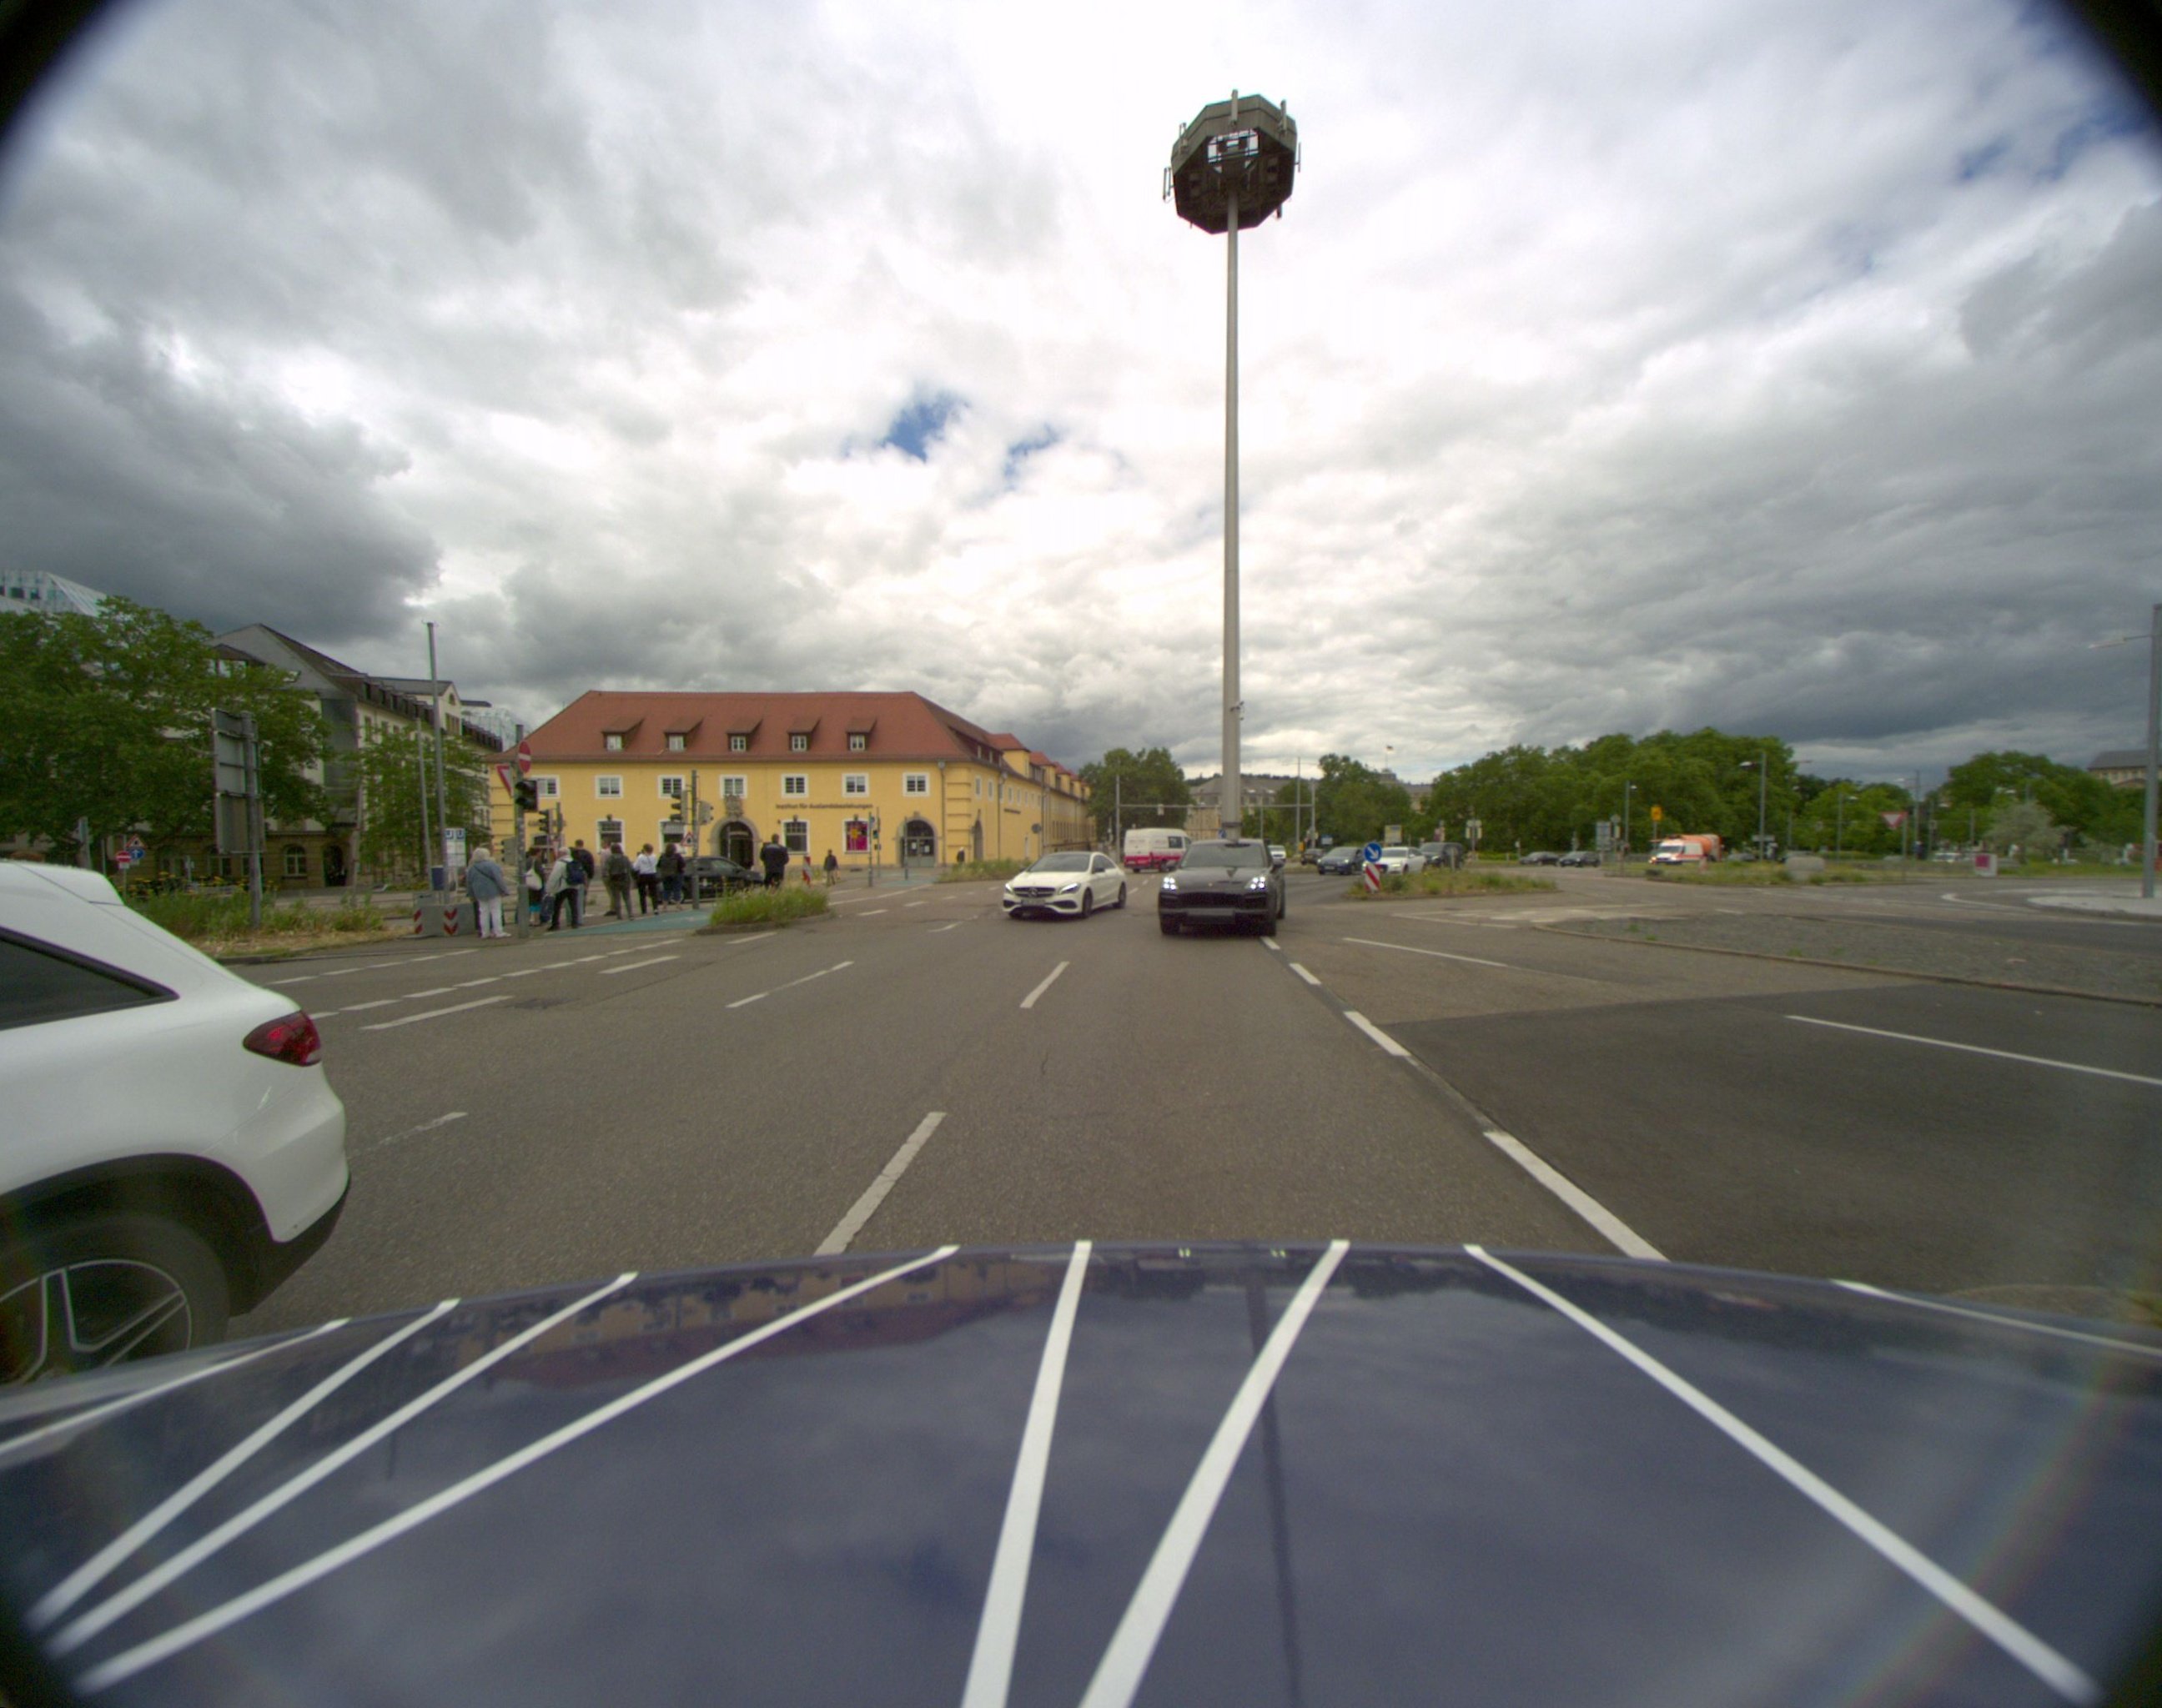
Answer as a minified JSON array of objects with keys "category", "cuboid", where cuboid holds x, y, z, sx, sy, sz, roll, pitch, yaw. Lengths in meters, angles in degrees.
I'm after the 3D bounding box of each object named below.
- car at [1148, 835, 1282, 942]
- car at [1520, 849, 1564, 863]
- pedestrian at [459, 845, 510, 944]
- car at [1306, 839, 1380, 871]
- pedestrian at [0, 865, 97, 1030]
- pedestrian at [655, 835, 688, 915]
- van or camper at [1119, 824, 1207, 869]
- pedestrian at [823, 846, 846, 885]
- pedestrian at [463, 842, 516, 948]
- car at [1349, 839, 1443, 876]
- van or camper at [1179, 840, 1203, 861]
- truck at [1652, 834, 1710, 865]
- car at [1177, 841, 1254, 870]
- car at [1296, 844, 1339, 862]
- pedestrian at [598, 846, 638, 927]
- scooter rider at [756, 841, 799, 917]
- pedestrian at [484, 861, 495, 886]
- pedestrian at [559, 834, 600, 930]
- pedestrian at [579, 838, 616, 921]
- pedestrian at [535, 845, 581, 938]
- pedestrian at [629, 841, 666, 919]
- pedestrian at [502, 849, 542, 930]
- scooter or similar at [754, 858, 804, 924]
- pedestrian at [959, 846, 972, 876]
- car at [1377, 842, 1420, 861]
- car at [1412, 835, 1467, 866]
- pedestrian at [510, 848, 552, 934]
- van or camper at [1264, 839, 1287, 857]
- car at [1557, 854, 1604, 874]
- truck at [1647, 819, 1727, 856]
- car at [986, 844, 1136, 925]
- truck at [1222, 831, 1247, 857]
[{"category":"car","cuboid":[2.657,0.574,14.226,2.002,1.628,5.026,-2,-1,14]},{"category":"car","cuboid":[43.630,0.170,71.960,3.860,1.266,1.774,-2,1,-26]},{"category":"pedestrian","cuboid":[-11.244,0.739,14.335,0.670,1.805,0.701,-2,2,-35]},{"category":"car","cuboid":[13.789,0.040,39.945,4.008,1.592,1.994,-1,1,-42]},{"category":"pedestrian","cuboid":[-11.309,0.977,8.110,0.803,1.688,0.546,-1,1,-33]},{"category":"pedestrian","cuboid":[-10.172,0.510,18.879,0.612,1.944,0.641,-2,2,-35]},{"category":"van or camper","cuboid":[4.926,-0.455,44.697,2.141,2.463,6.173,-1,0,38]},{"category":"pedestrian","cuboid":[-11.369,0.509,35.042,0.828,1.779,0.752,-1,1,-7]},{"category":"pedestrian","cuboid":[-10.719,0.717,13.785,0.670,1.852,0.701,-2,2,-35]},{"category":"car","cuboid":[14.683,0.140,35.379,4.420,1.599,2.091,-1,-1,-38]},{"category":"van or camper","cuboid":[12.269,-0.436,84.397,2.371,2.249,6.292,0,1,10]},{"category":"truck","cuboid":[55.233,-0.446,69.896,5.797,2.768,1.952,0,1,-28]},{"category":"car","cuboid":[7.432,0.050,41.623,1.943,1.474,4.637,-2,0,42]},{"category":"car","cuboid":[19.511,-0.105,62.505,1.754,1.325,4.421,-1,1,40]},{"category":"pedestrian","cuboid":[-10.008,0.680,16.413,0.612,1.686,0.641,-2,2,-38]},{"category":"scooter rider","cuboid":[-6.990,0.549,17.504,0.767,1.684,0.744,-2,1,-30]},{"category":"pedestrian","cuboid":[-39.115,1.277,50.241,0.552,1.581,0.493,0,2,45]},{"category":"pedestrian","cuboid":[-10.452,0.563,15.830,0.612,1.954,0.641,-2,2,-38]},{"category":"pedestrian","cuboid":[-11.411,0.583,17.939,0.612,1.899,0.641,-2,2,-38]},{"category":"pedestrian","cuboid":[-10.236,0.705,14.859,0.670,1.751,0.761,-2,2,-35]},{"category":"pedestrian","cuboid":[-10.133,0.591,17.754,0.612,1.787,0.641,-2,2,-38]},{"category":"pedestrian","cuboid":[-12.010,0.749,16.318,0.612,1.686,0.641,-2,2,-38]},{"category":"scooter or similar","cuboid":[-6.982,0.816,17.510,0.778,1.398,1.883,-2,1,-30]},{"category":"pedestrian","cuboid":[-7.454,0.453,49.030,0.640,1.884,0.557,-1,1,-25]},{"category":"car","cuboid":[28.121,-0.186,67.166,1.994,1.495,5.052,-1,-2,41]},{"category":"car","cuboid":[23.977,-0.286,50.760,1.855,1.977,4.651,2,2,44]},{"category":"pedestrian","cuboid":[-11.158,0.734,15.403,0.612,1.686,0.641,-2,2,-38]},{"category":"van or camper","cuboid":[21.826,-0.663,85.294,1.863,1.905,4.716,-1,1,7]},{"category":"car","cuboid":[44.140,0.860,67.153,3.745,1.729,1.856,0,1,-27]},{"category":"truck","cuboid":[62.198,-1.622,77.950,9.191,3.595,2.722,0,1,-27]},{"category":"car","cuboid":[-0.271,0.586,17.435,1.867,1.560,4.657,-1,1,19]},{"category":"truck","cuboid":[21.666,-1.402,107.792,2.788,3.469,8.353,0,1,7]}]
